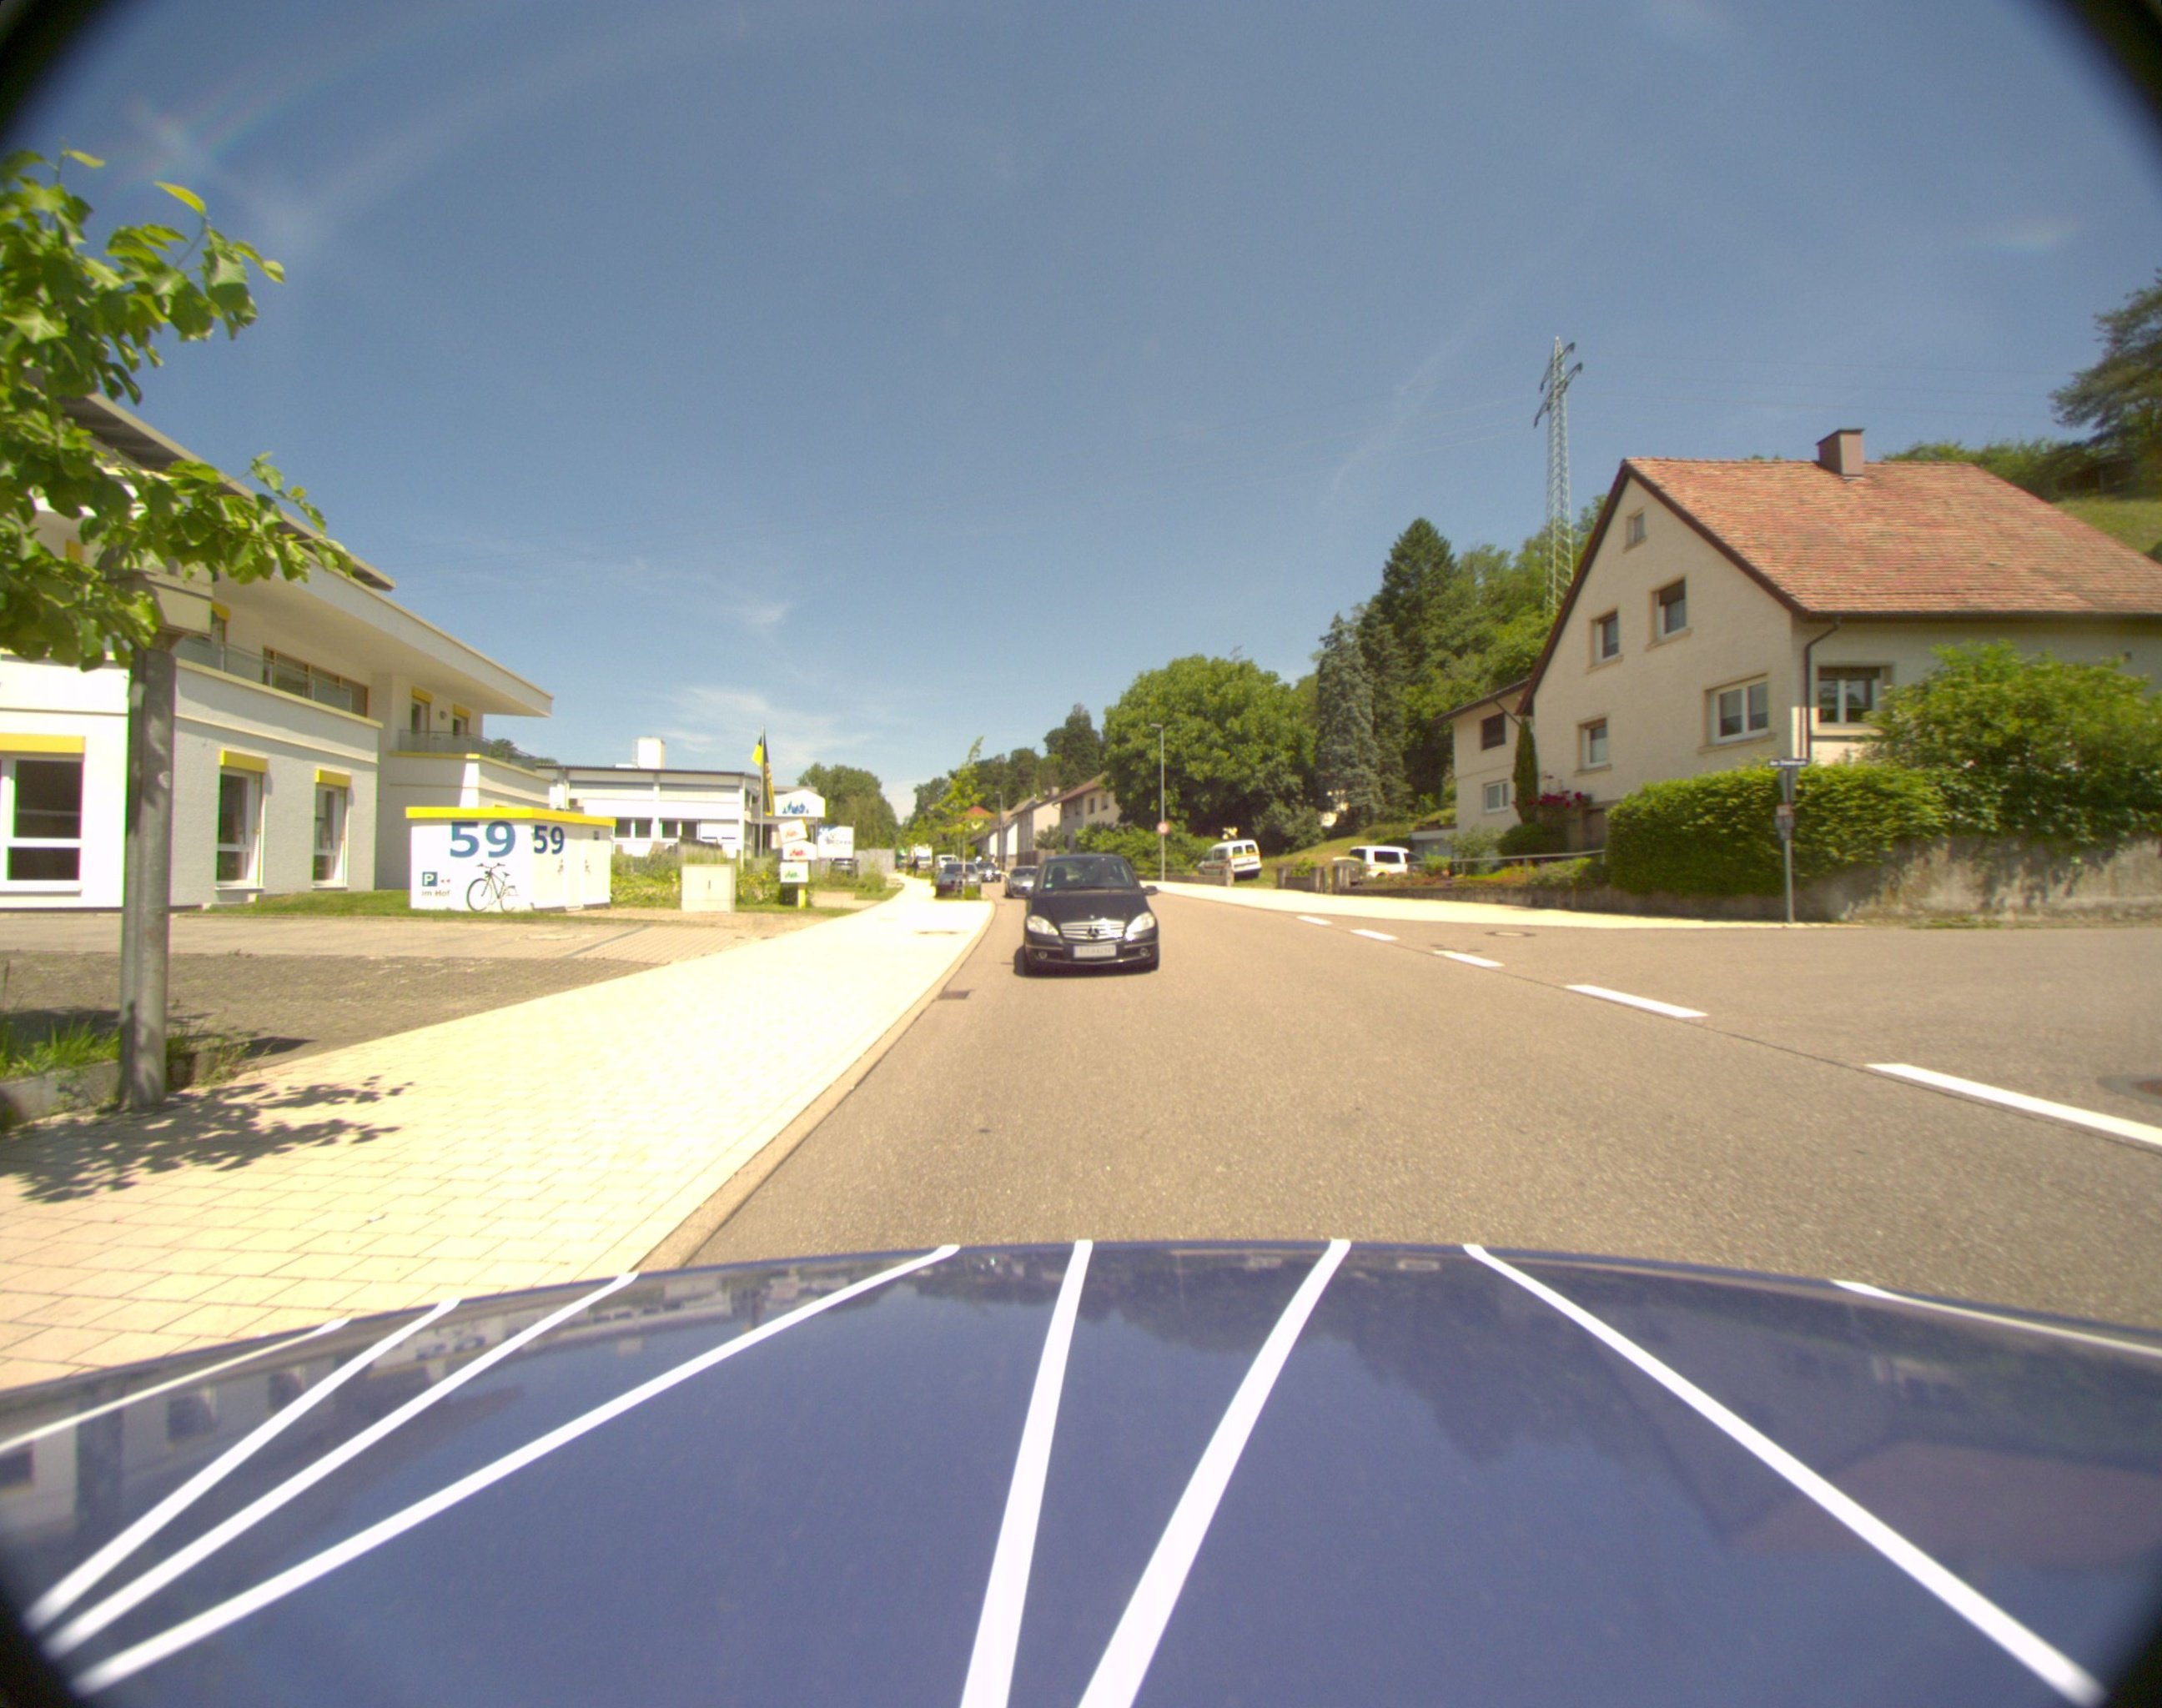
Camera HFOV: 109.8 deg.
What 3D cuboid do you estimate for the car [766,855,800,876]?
[{"bbox_3d":[-20.264,0.759,51.846,1.746,1.357,3.835,-1,0,-16],"label":"car"}]

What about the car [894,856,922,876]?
[{"bbox_3d":[-13.586,0.905,59.643,1.654,1.520,3.858,-1,0,-20],"label":"car"}]

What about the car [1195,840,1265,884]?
[{"bbox_3d":[6.993,0.346,36.062,1.705,1.937,3.995,-1,0,-13],"label":"car"}]

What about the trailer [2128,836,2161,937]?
[{"bbox_3d":[18.326,0.389,10.186,5.071,1.496,2.002,-2,0,9],"label":"trailer"}]

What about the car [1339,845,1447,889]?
[{"bbox_3d":[13.431,0.589,32.750,4.003,1.778,1.809,1,-4,-17],"label":"car"}]

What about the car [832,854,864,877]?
[{"bbox_3d":[-16.130,0.802,52.742,2.001,1.477,3.994,2,-1,-16],"label":"car"}]

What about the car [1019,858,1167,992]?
[{"bbox_3d":[0.036,0.877,11.324,1.791,1.595,4.074,-1,0,-3],"label":"car"}]

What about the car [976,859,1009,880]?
[{"bbox_3d":[-6.037,1.040,51.551,1.912,1.341,3.996,-1,0,-11],"label":"car"}]

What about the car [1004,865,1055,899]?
[{"bbox_3d":[-2.129,1.086,30.638,1.669,1.253,3.549,-1,0,-10],"label":"car"}]

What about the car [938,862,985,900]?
[{"bbox_3d":[-4.719,1.031,30.439,1.676,1.368,3.997,1,0,-7],"label":"car"}]

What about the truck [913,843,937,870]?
[{"bbox_3d":[-20.340,0.320,98.810,2.809,3.394,8.110,-1,0,-13],"label":"truck"}]

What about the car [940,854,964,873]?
[{"bbox_3d":[-12.474,0.884,73.184,1.970,1.823,4.459,1,0,-13],"label":"car"}]
